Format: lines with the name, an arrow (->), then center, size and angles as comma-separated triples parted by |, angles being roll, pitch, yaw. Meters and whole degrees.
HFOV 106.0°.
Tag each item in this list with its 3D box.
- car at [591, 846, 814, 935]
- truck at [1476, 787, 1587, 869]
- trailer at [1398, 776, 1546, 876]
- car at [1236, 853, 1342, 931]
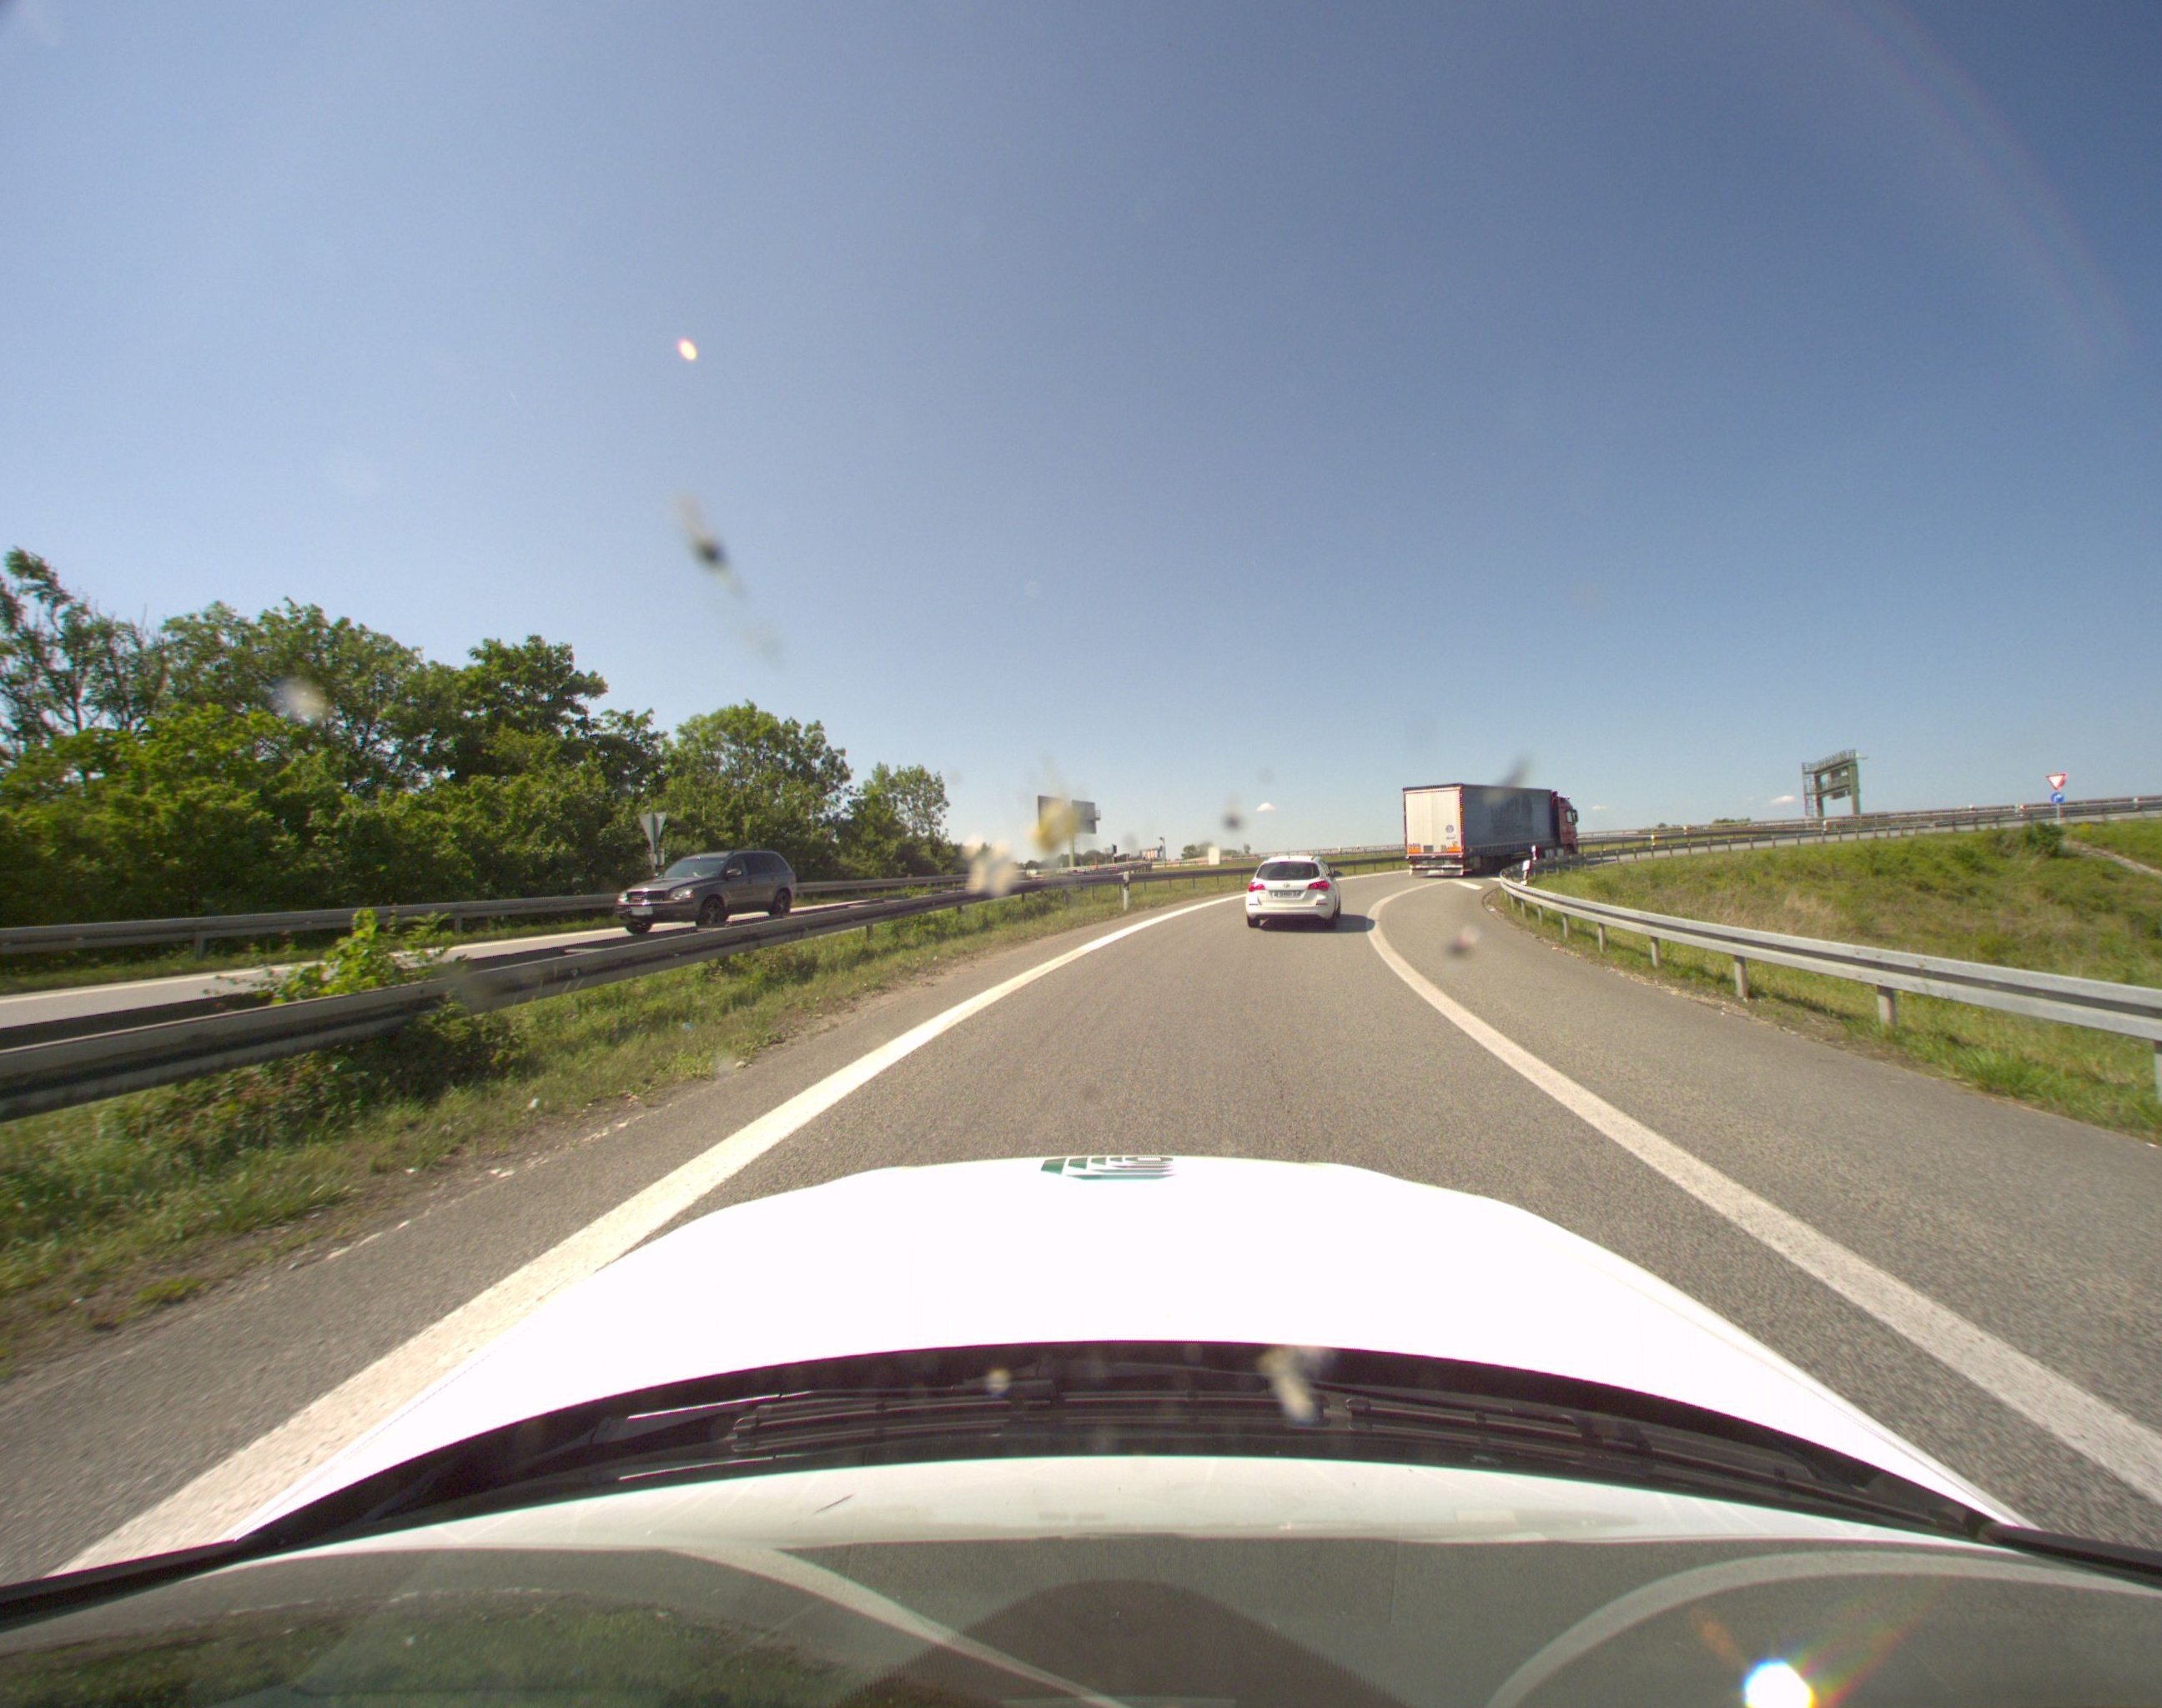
car -> -8.327, 0.725, 18.634 | 1.981, 1.731, 5.212 | -1, 0, 10
truck -> 24.759, -1.420, 44.592 | 6.962, 4.145, 2.887 | -2, 0, -40
trailer -> 19.092, -1.323, 39.189 | 2.885, 4.145, 11.326 | -3, 0, 44
car -> 4.679, 0.739, 17.878 | 1.839, 1.443, 4.393 | -2, 0, 19
